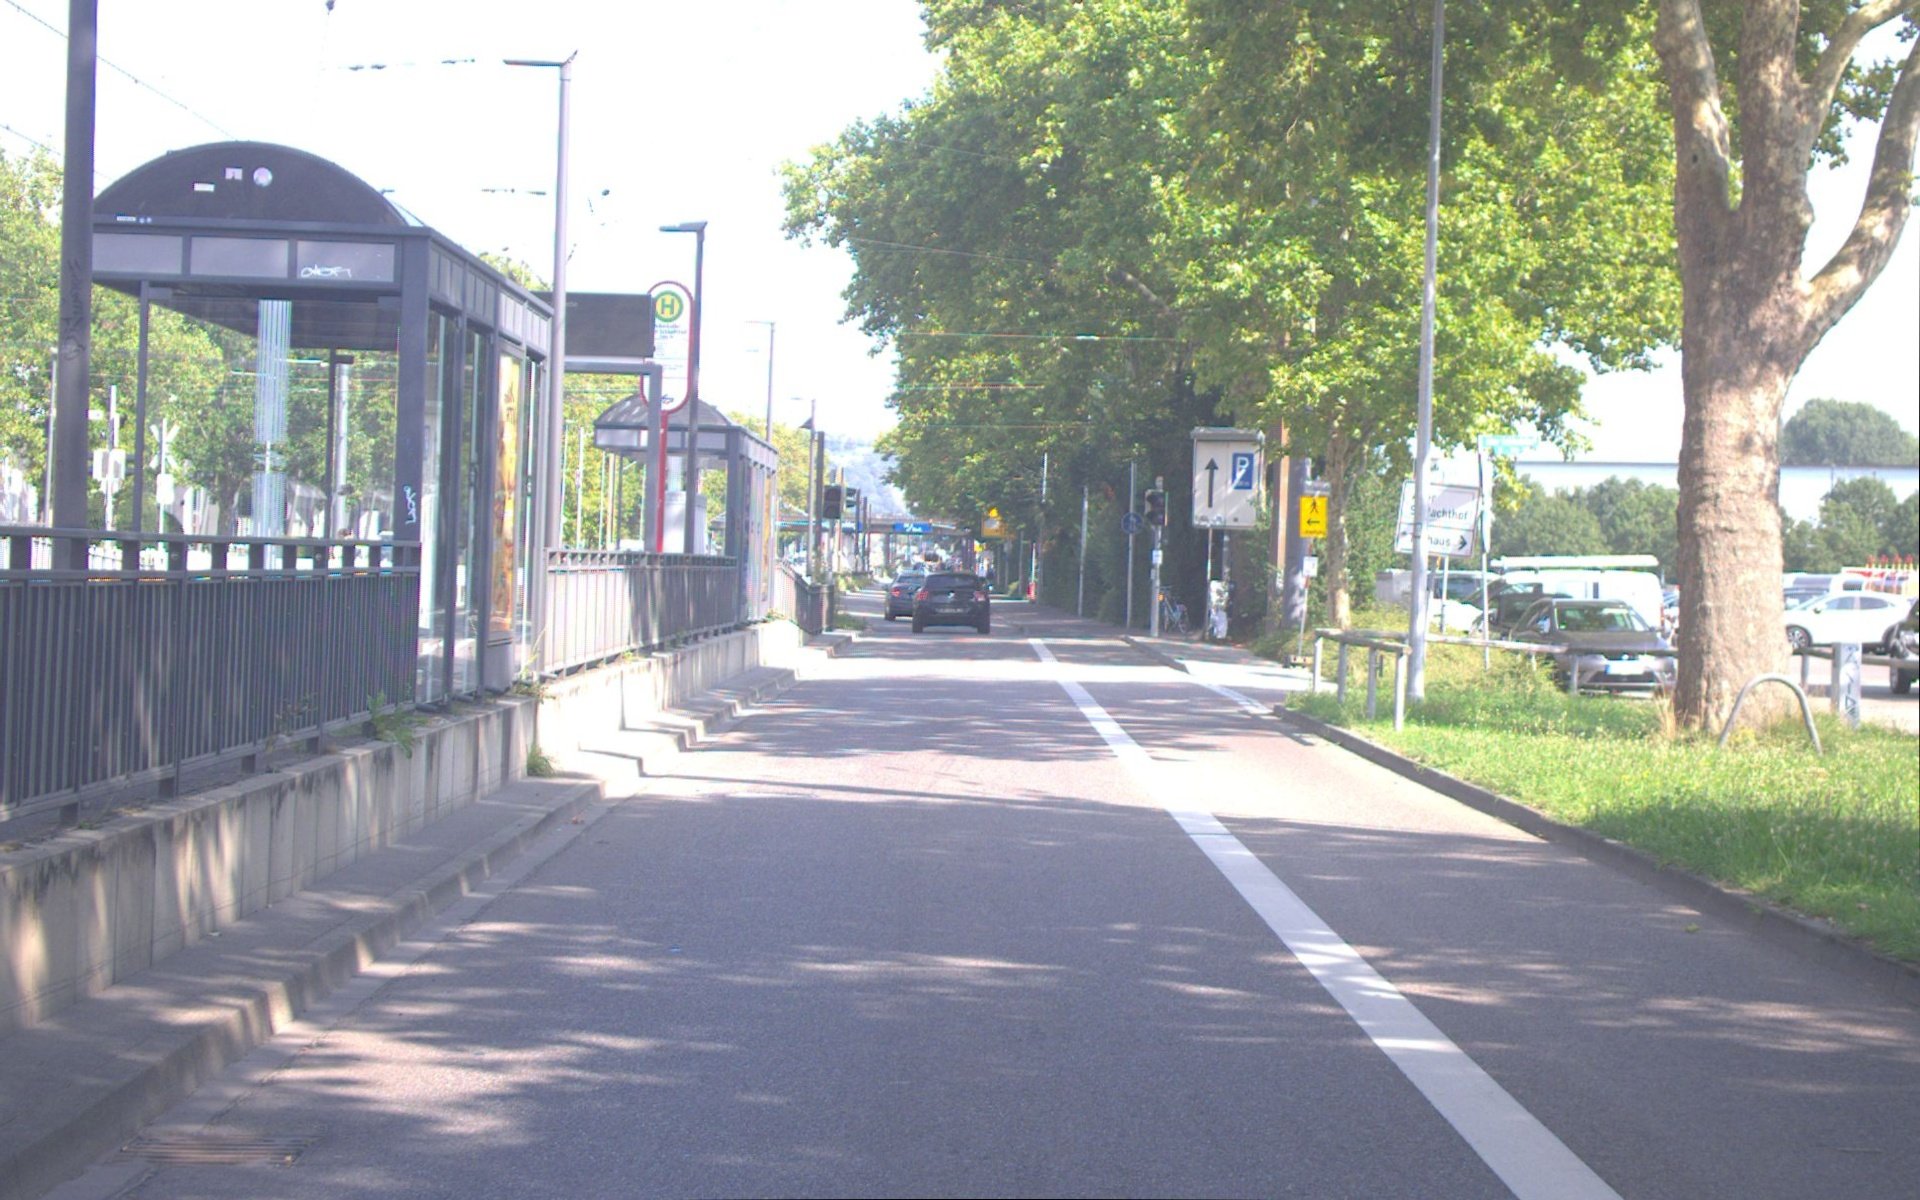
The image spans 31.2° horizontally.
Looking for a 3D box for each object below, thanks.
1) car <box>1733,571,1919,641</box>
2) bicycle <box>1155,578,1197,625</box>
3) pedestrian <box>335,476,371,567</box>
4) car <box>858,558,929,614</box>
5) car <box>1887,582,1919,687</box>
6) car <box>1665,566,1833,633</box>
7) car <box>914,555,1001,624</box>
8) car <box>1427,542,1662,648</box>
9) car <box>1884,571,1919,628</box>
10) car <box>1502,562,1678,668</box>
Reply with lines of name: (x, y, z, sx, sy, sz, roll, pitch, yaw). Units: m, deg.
car: (21.052, 0.142, 82.799, 4.343, 1.459, 1.947, 3, 0, -2)
bicycle: (5.005, 0.024, 79.701, 0.610, 1.018, 2.403, 2, 1, -5)
pedestrian: (-12.261, -1.577, 69.451, 0.707, 1.815, 0.773, 0, -1, -10)
car: (-1.918, -0.423, 99.027, 1.973, 1.532, 4.000, -1, 1, -1)
car: (15.365, 0.544, 52.036, 1.607, 1.570, 3.796, 1, 1, 0)
car: (22.957, -0.025, 100.107, 4.343, 1.707, 1.947, 3, 0, -2)
car: (-0.085, -0.270, 79.267, 1.907, 1.532, 4.000, 0, 1, -1)
car: (10.892, -0.099, 64.256, 4.103, 1.912, 1.847, 1, 1, 3)
car: (26.447, 0.072, 89.178, 4.343, 1.459, 1.947, 3, 0, -2)
car: (9.229, 0.185, 50.684, 1.728, 1.444, 4.551, 1, 1, 0)
